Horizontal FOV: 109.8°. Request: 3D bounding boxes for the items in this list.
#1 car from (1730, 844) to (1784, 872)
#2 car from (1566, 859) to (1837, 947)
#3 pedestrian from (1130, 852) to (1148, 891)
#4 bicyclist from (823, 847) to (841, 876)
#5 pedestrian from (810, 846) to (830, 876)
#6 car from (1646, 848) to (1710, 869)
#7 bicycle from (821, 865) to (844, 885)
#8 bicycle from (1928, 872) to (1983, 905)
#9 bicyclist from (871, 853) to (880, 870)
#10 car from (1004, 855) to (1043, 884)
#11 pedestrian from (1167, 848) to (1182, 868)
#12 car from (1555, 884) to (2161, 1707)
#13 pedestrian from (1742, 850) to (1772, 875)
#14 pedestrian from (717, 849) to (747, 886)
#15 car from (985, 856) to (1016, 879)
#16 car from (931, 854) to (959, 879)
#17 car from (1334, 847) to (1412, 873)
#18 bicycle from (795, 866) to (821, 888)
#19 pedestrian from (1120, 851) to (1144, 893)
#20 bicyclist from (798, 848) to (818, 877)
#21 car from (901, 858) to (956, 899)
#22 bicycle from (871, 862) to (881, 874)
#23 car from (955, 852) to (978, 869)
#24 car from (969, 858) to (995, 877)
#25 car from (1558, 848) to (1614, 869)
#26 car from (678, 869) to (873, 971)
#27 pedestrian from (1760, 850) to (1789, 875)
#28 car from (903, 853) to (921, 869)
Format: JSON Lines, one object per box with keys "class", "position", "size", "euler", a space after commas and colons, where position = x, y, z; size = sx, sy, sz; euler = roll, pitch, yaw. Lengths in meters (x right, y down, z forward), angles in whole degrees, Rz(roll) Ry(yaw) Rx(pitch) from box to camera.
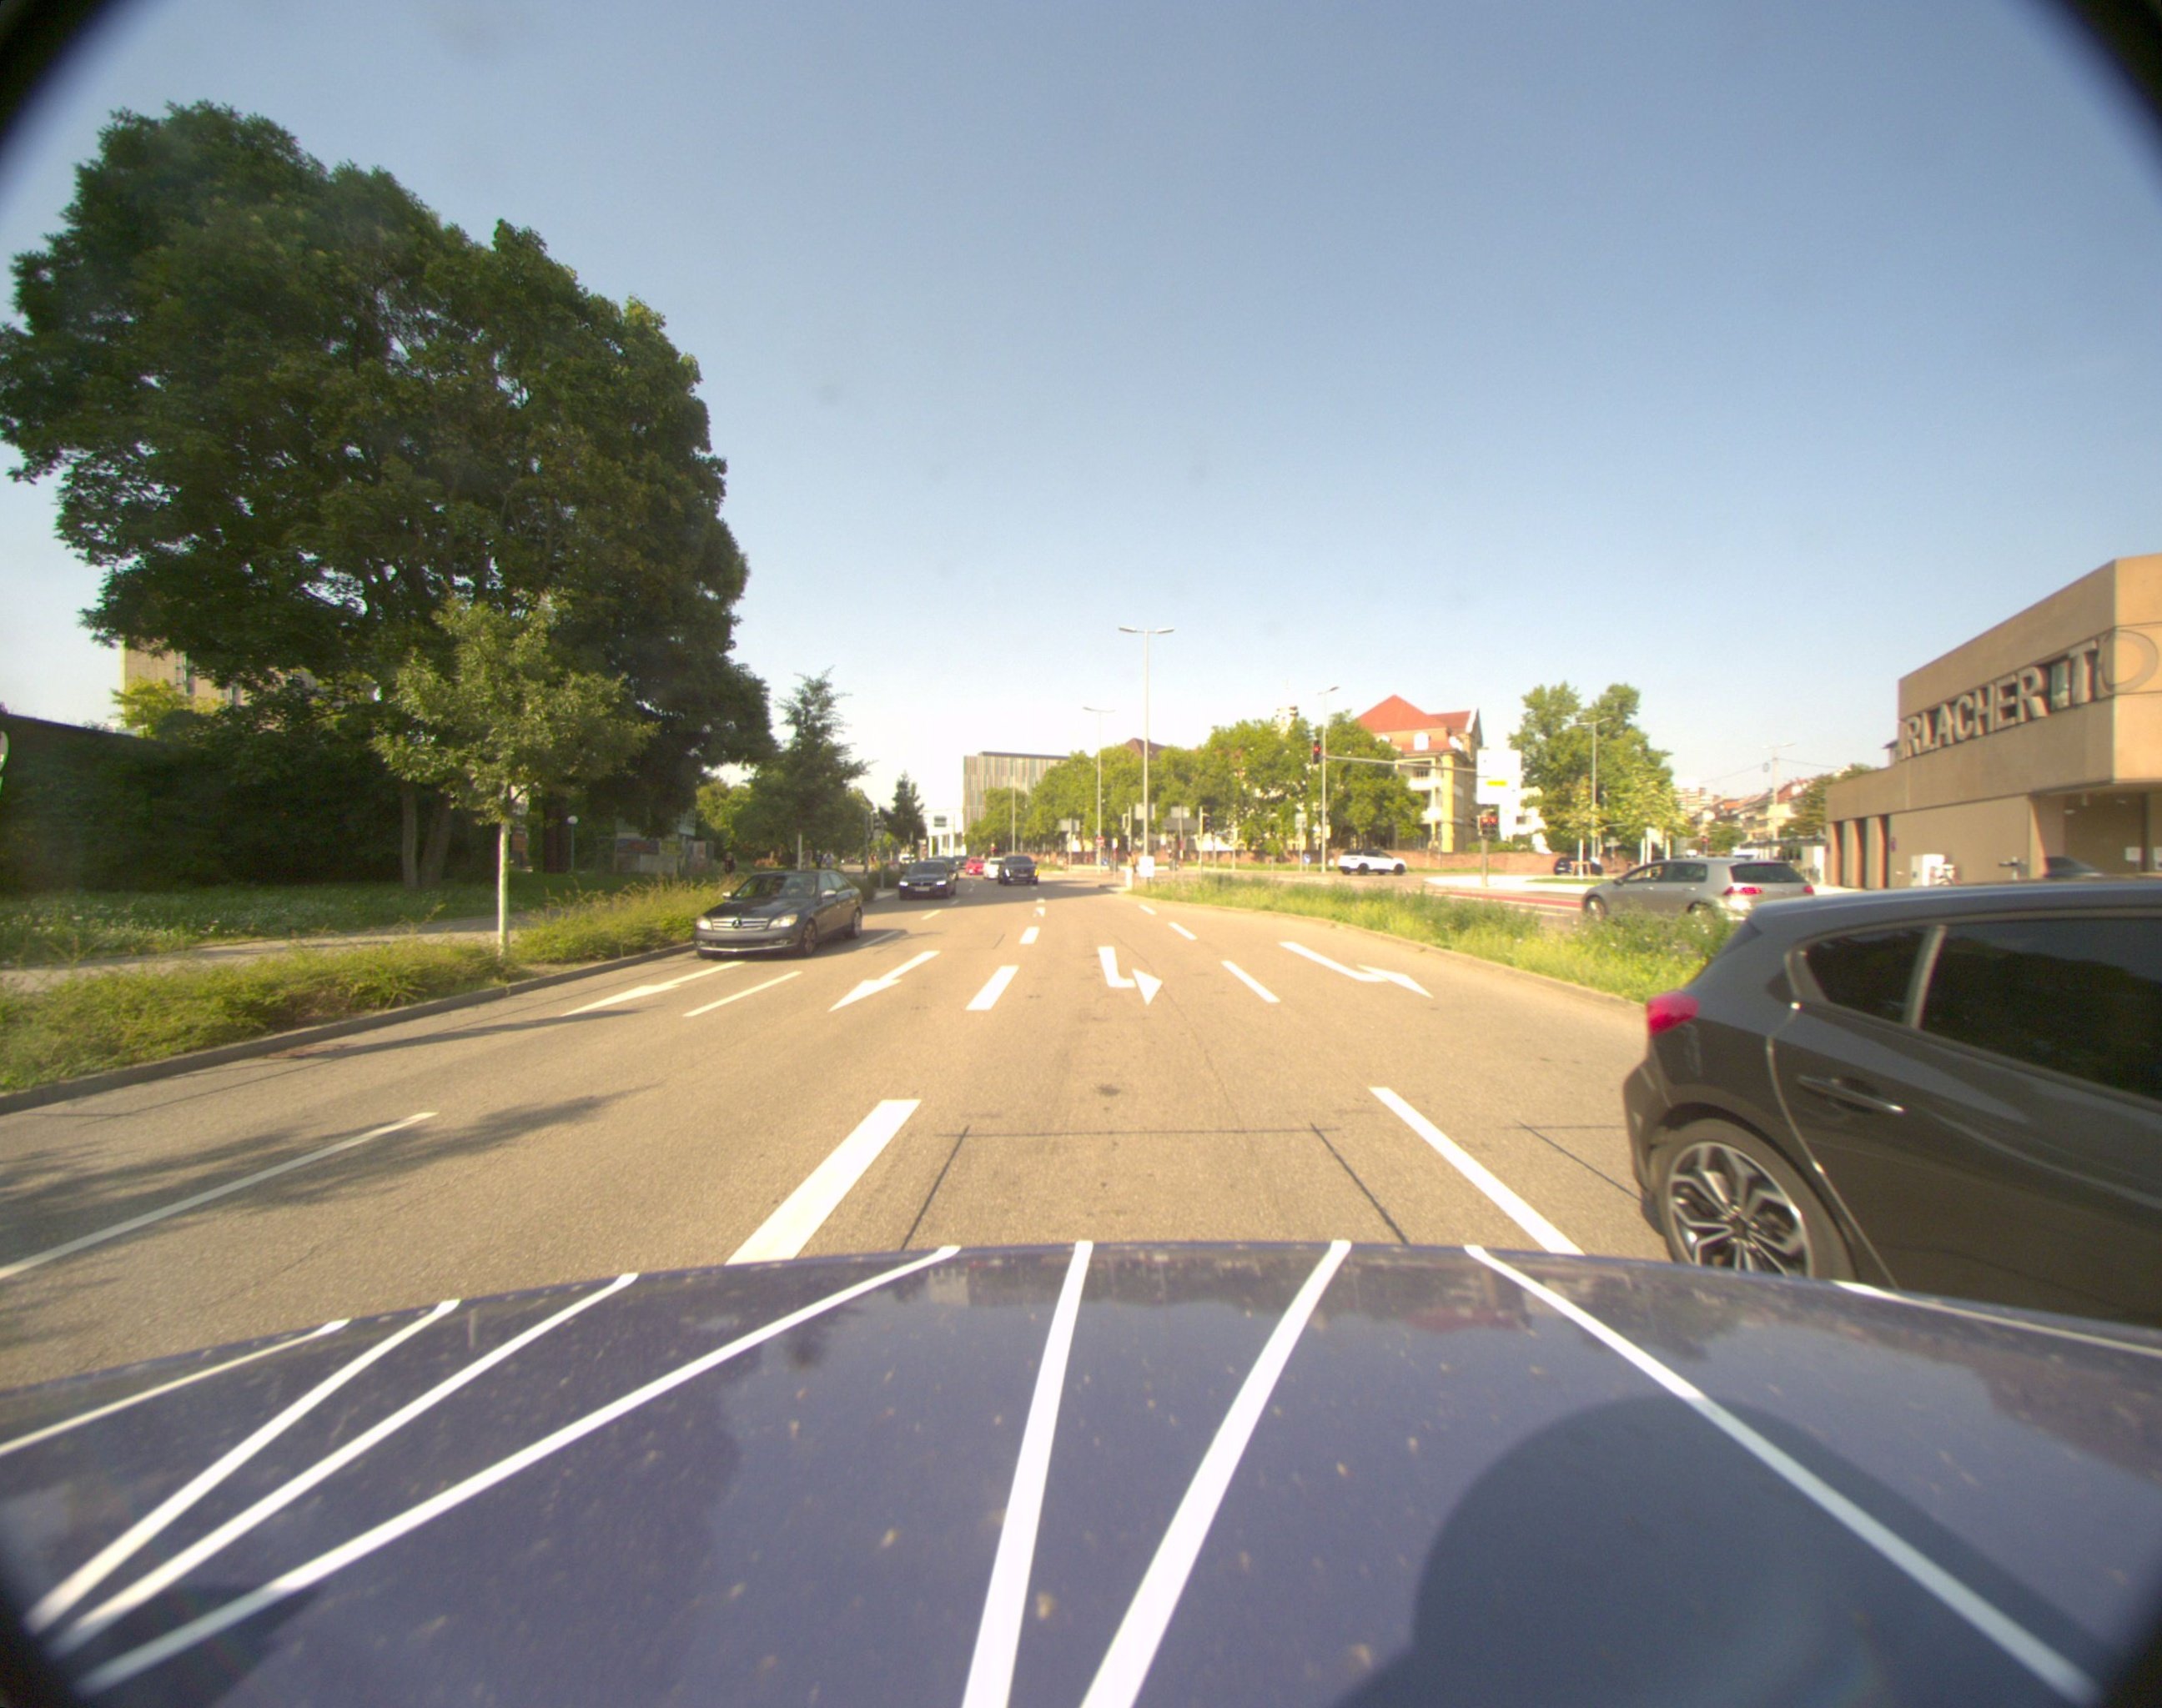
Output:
{"class": "car", "position": [65.801, 0.406, 73.936], "size": [5.558, 2.437, 1.996], "euler": [-2, 1, -26]}
{"class": "car", "position": [11.773, 0.839, 14.873], "size": [1.818, 1.425, 4.224], "euler": [0, 0, -1]}
{"class": "pedestrian", "position": [2.500, 0.753, 32.903], "size": [0.668, 1.689, 0.691], "euler": [0, 0, -6]}
{"class": "bicyclist", "position": [-14.088, 0.429, 43.059], "size": [0.773, 1.583, 0.923], "euler": [0, 0, -6]}
{"class": "pedestrian", "position": [-16.298, 0.436, 47.514], "size": [0.961, 1.772, 1.002], "euler": [2, 0, -8]}
{"class": "car", "position": [47.649, 0.341, 60.663], "size": [4.376, 1.623, 1.997], "euler": [0, 0, -19]}
{"class": "bicycle", "position": [-14.095, 1.180, 43.136], "size": [0.773, 1.111, 2.302], "euler": [0, 0, -5]}
{"class": "bicycle", "position": [23.995, 0.944, 20.880], "size": [0.591, 0.833, 1.550], "euler": [-3, -2, 35]}
{"class": "bicyclist", "position": [-19.821, 0.726, 73.280], "size": [0.774, 1.666, 0.922], "euler": [-1, 1, -18]}
{"class": "car", "position": [-3.159, 0.777, 41.203], "size": [1.688, 1.483, 4.368], "euler": [0, 0, -10]}
{"class": "pedestrian", "position": [9.605, 0.381, 78.386], "size": [1.080, 2.002, 1.317], "euler": [-1, 1, -15]}
{"class": "car", "position": [2.894, 0.848, 0.900], "size": [1.836, 1.427, 4.550], "euler": [0, 0, 0]}
{"class": "pedestrian", "position": [53.674, 0.659, 60.334], "size": [1.344, 2.002, 1.210], "euler": [0, 0, -17]}
{"class": "pedestrian", "position": [-13.541, 0.513, 29.509], "size": [0.726, 1.435, 0.857], "euler": [0, 1, 3]}
{"class": "car", "position": [-5.527, 0.861, 51.920], "size": [1.784, 1.474, 4.528], "euler": [0, 0, -11]}
{"class": "car", "position": [-9.315, 0.832, 51.976], "size": [1.784, 1.597, 4.416], "euler": [0, 1, -11]}
{"class": "car", "position": [18.812, 0.373, 49.036], "size": [4.375, 1.624, 1.997], "euler": [0, 1, -16]}
{"class": "bicycle", "position": [-14.747, 1.241, 41.043], "size": [0.773, 1.111, 2.302], "euler": [-1, 0, -6]}
{"class": "pedestrian", "position": [2.055, 0.720, 30.525], "size": [0.667, 1.644, 0.780], "euler": [0, 0, 31]}
{"class": "bicyclist", "position": [-14.765, 0.456, 41.127], "size": [0.773, 1.583, 0.923], "euler": [-1, 1, -6]}
{"class": "car", "position": [-5.923, 0.898, 29.910], "size": [1.688, 1.483, 4.670], "euler": [0, 0, -6]}
{"class": "bicycle", "position": [-19.812, 1.297, 73.271], "size": [0.774, 1.111, 2.300], "euler": [-1, 0, -19]}
{"class": "car", "position": [-11.682, 0.598, 77.290], "size": [1.785, 1.683, 4.527], "euler": [0, 0, -15]}
{"class": "car", "position": [-8.429, 1.104, 64.198], "size": [1.689, 1.483, 4.367], "euler": [0, 0, -14]}
{"class": "car", "position": [37.341, 0.341, 56.151], "size": [3.855, 1.489, 1.622], "euler": [0, 1, -23]}
{"class": "car", "position": [-5.224, 1.047, 13.681], "size": [1.687, 1.434, 4.372], "euler": [-1, 0, 0]}
{"class": "pedestrian", "position": [55.435, 0.665, 60.724], "size": [1.344, 2.002, 1.210], "euler": [0, 0, -17]}
{"class": "car", "position": [-21.305, 0.865, 95.902], "size": [1.690, 1.930, 4.364], "euler": [0, 0, -20]}
